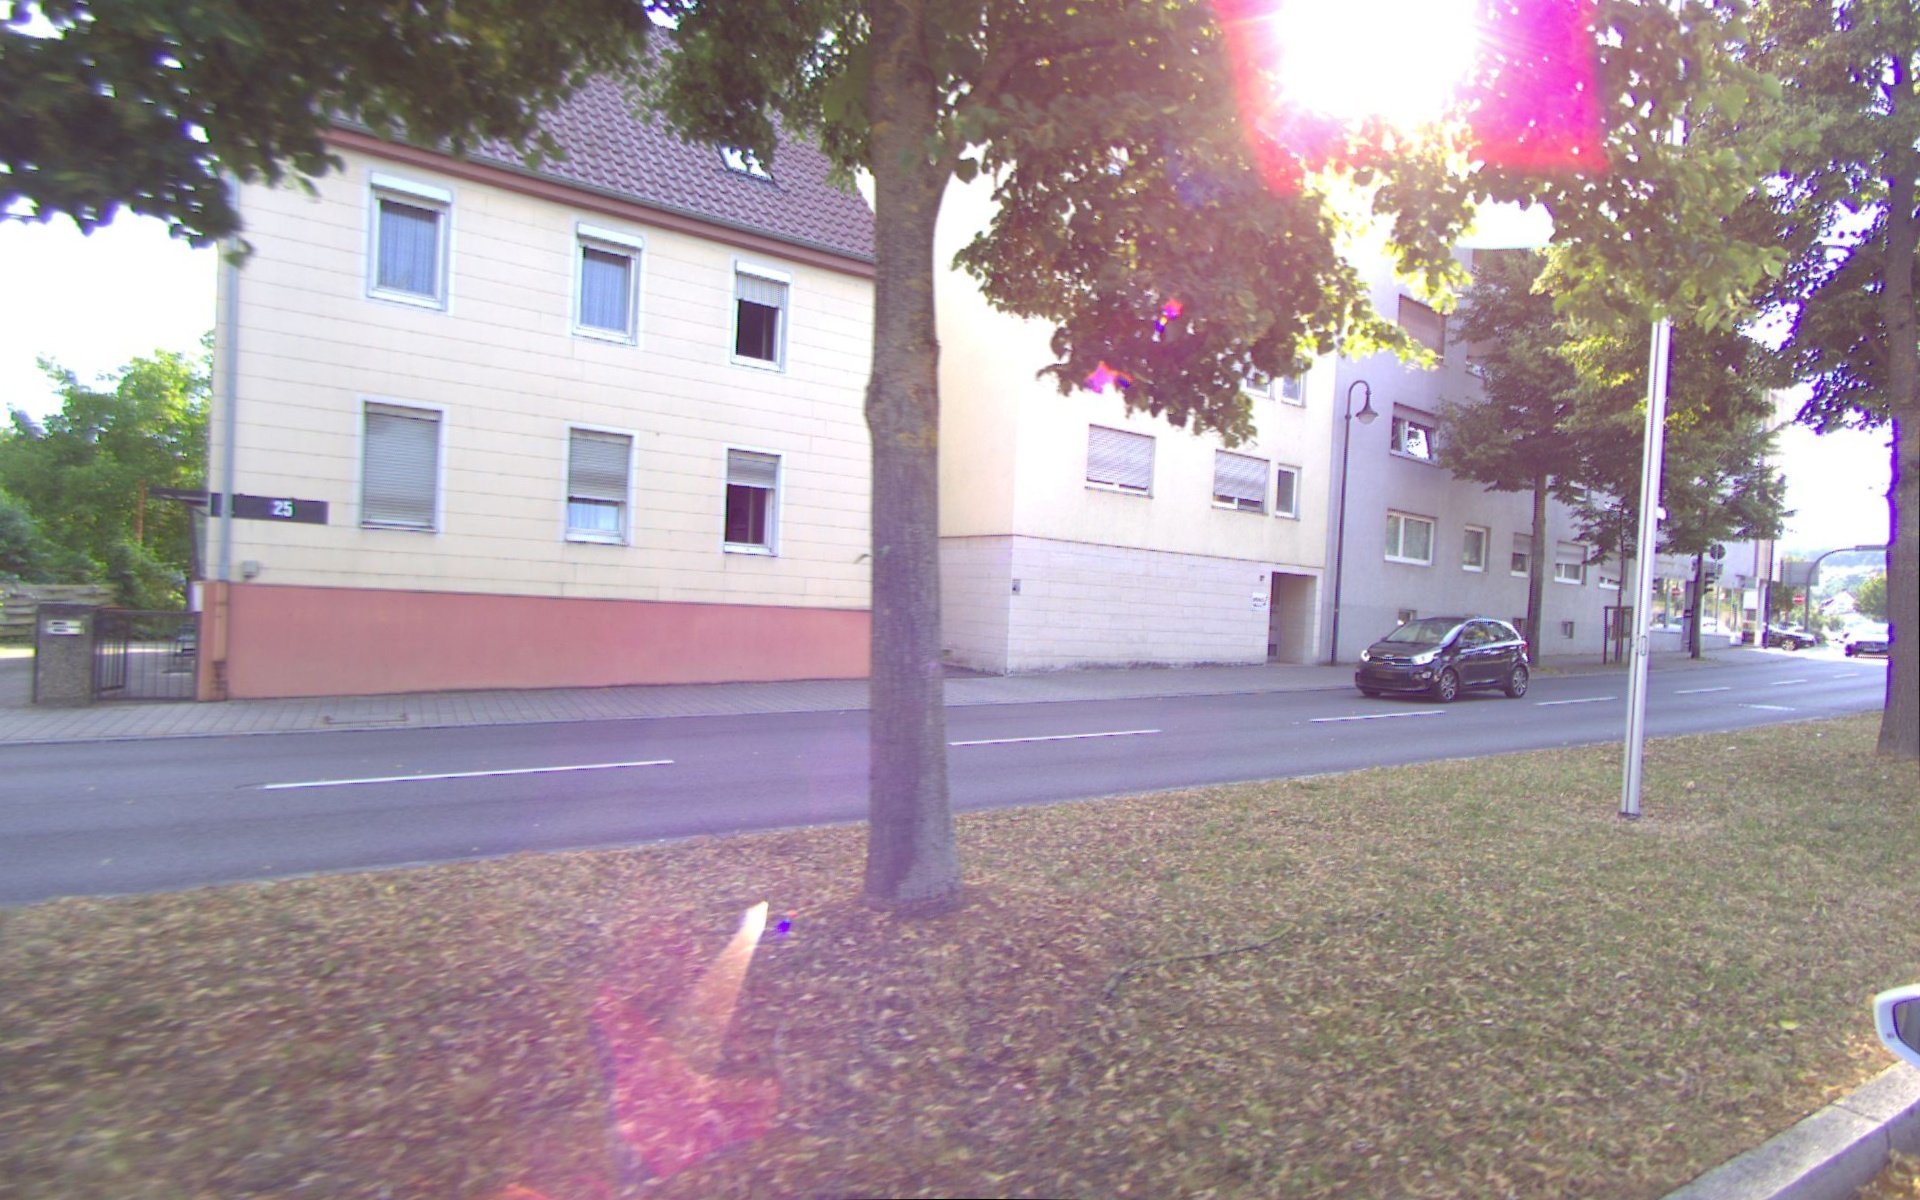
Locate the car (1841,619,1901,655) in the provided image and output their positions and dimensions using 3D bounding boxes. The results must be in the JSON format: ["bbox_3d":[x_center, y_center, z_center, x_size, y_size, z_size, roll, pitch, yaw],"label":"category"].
[{"bbox_3d":[40.802,1.646,44.957,1.833,1.506,4.966,1,-1,44],"label":"car"}]

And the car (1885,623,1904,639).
[{"bbox_3d":[126.332,4.167,135.796,1.752,2.040,3.980,2,0,41],"label":"car"}]

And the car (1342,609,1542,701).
[{"bbox_3d":[8.849,0.968,18.364,3.744,1.506,1.596,2,-1,-34],"label":"car"}]

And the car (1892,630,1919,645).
[{"bbox_3d":[117.972,4.687,125.128,2.188,1.792,4.438,1,0,36],"label":"car"}]

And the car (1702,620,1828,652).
[{"bbox_3d":[41.293,1.843,51.595,1.903,1.456,4.814,2,-1,-42],"label":"car"}]

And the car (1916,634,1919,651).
[{"bbox_3d":[107.105,4.722,110.535,2.188,1.883,4.438,1,0,36],"label":"car"}]

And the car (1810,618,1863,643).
[{"bbox_3d":[65.202,2.221,74.824,1.824,1.759,4.916,1,-1,28],"label":"car"}]
